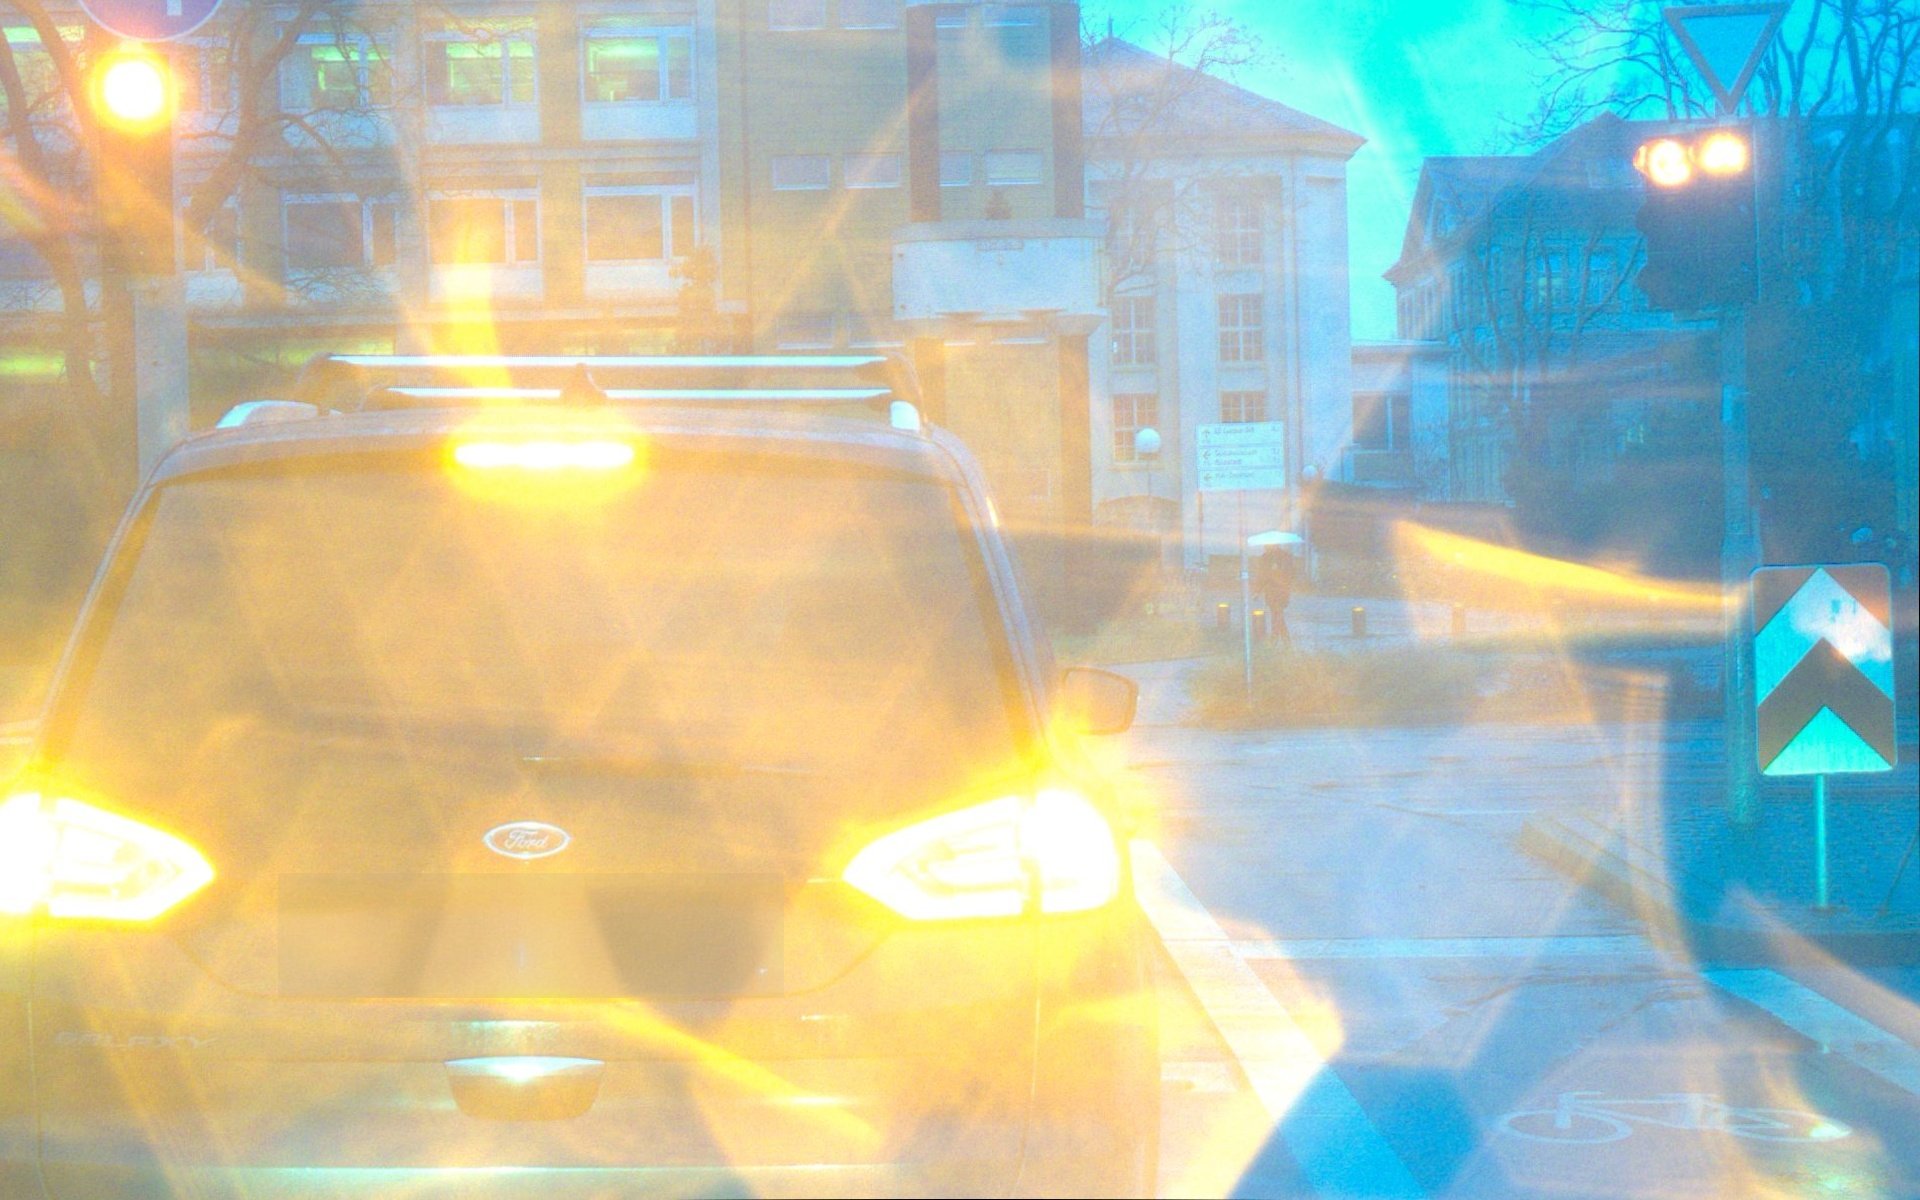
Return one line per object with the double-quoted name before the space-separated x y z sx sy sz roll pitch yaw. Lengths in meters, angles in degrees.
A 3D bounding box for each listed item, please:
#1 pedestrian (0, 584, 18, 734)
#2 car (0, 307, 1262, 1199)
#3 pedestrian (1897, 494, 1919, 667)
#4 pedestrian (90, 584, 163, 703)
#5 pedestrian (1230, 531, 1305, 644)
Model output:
"pedestrian" -12.424 0.766 42.372 1.002 1.836 1.138 -2 3 18
"car" -0.630 0.492 6.564 1.993 1.783 4.000 1 1 -1
"pedestrian" 12.038 -0.262 42.247 0.893 2.106 0.885 -2 1 12
"pedestrian" -11.645 0.603 48.052 0.760 1.622 0.557 -2 1 13
"pedestrian" 4.515 -0.180 50.437 0.721 1.622 0.760 -1 2 42
